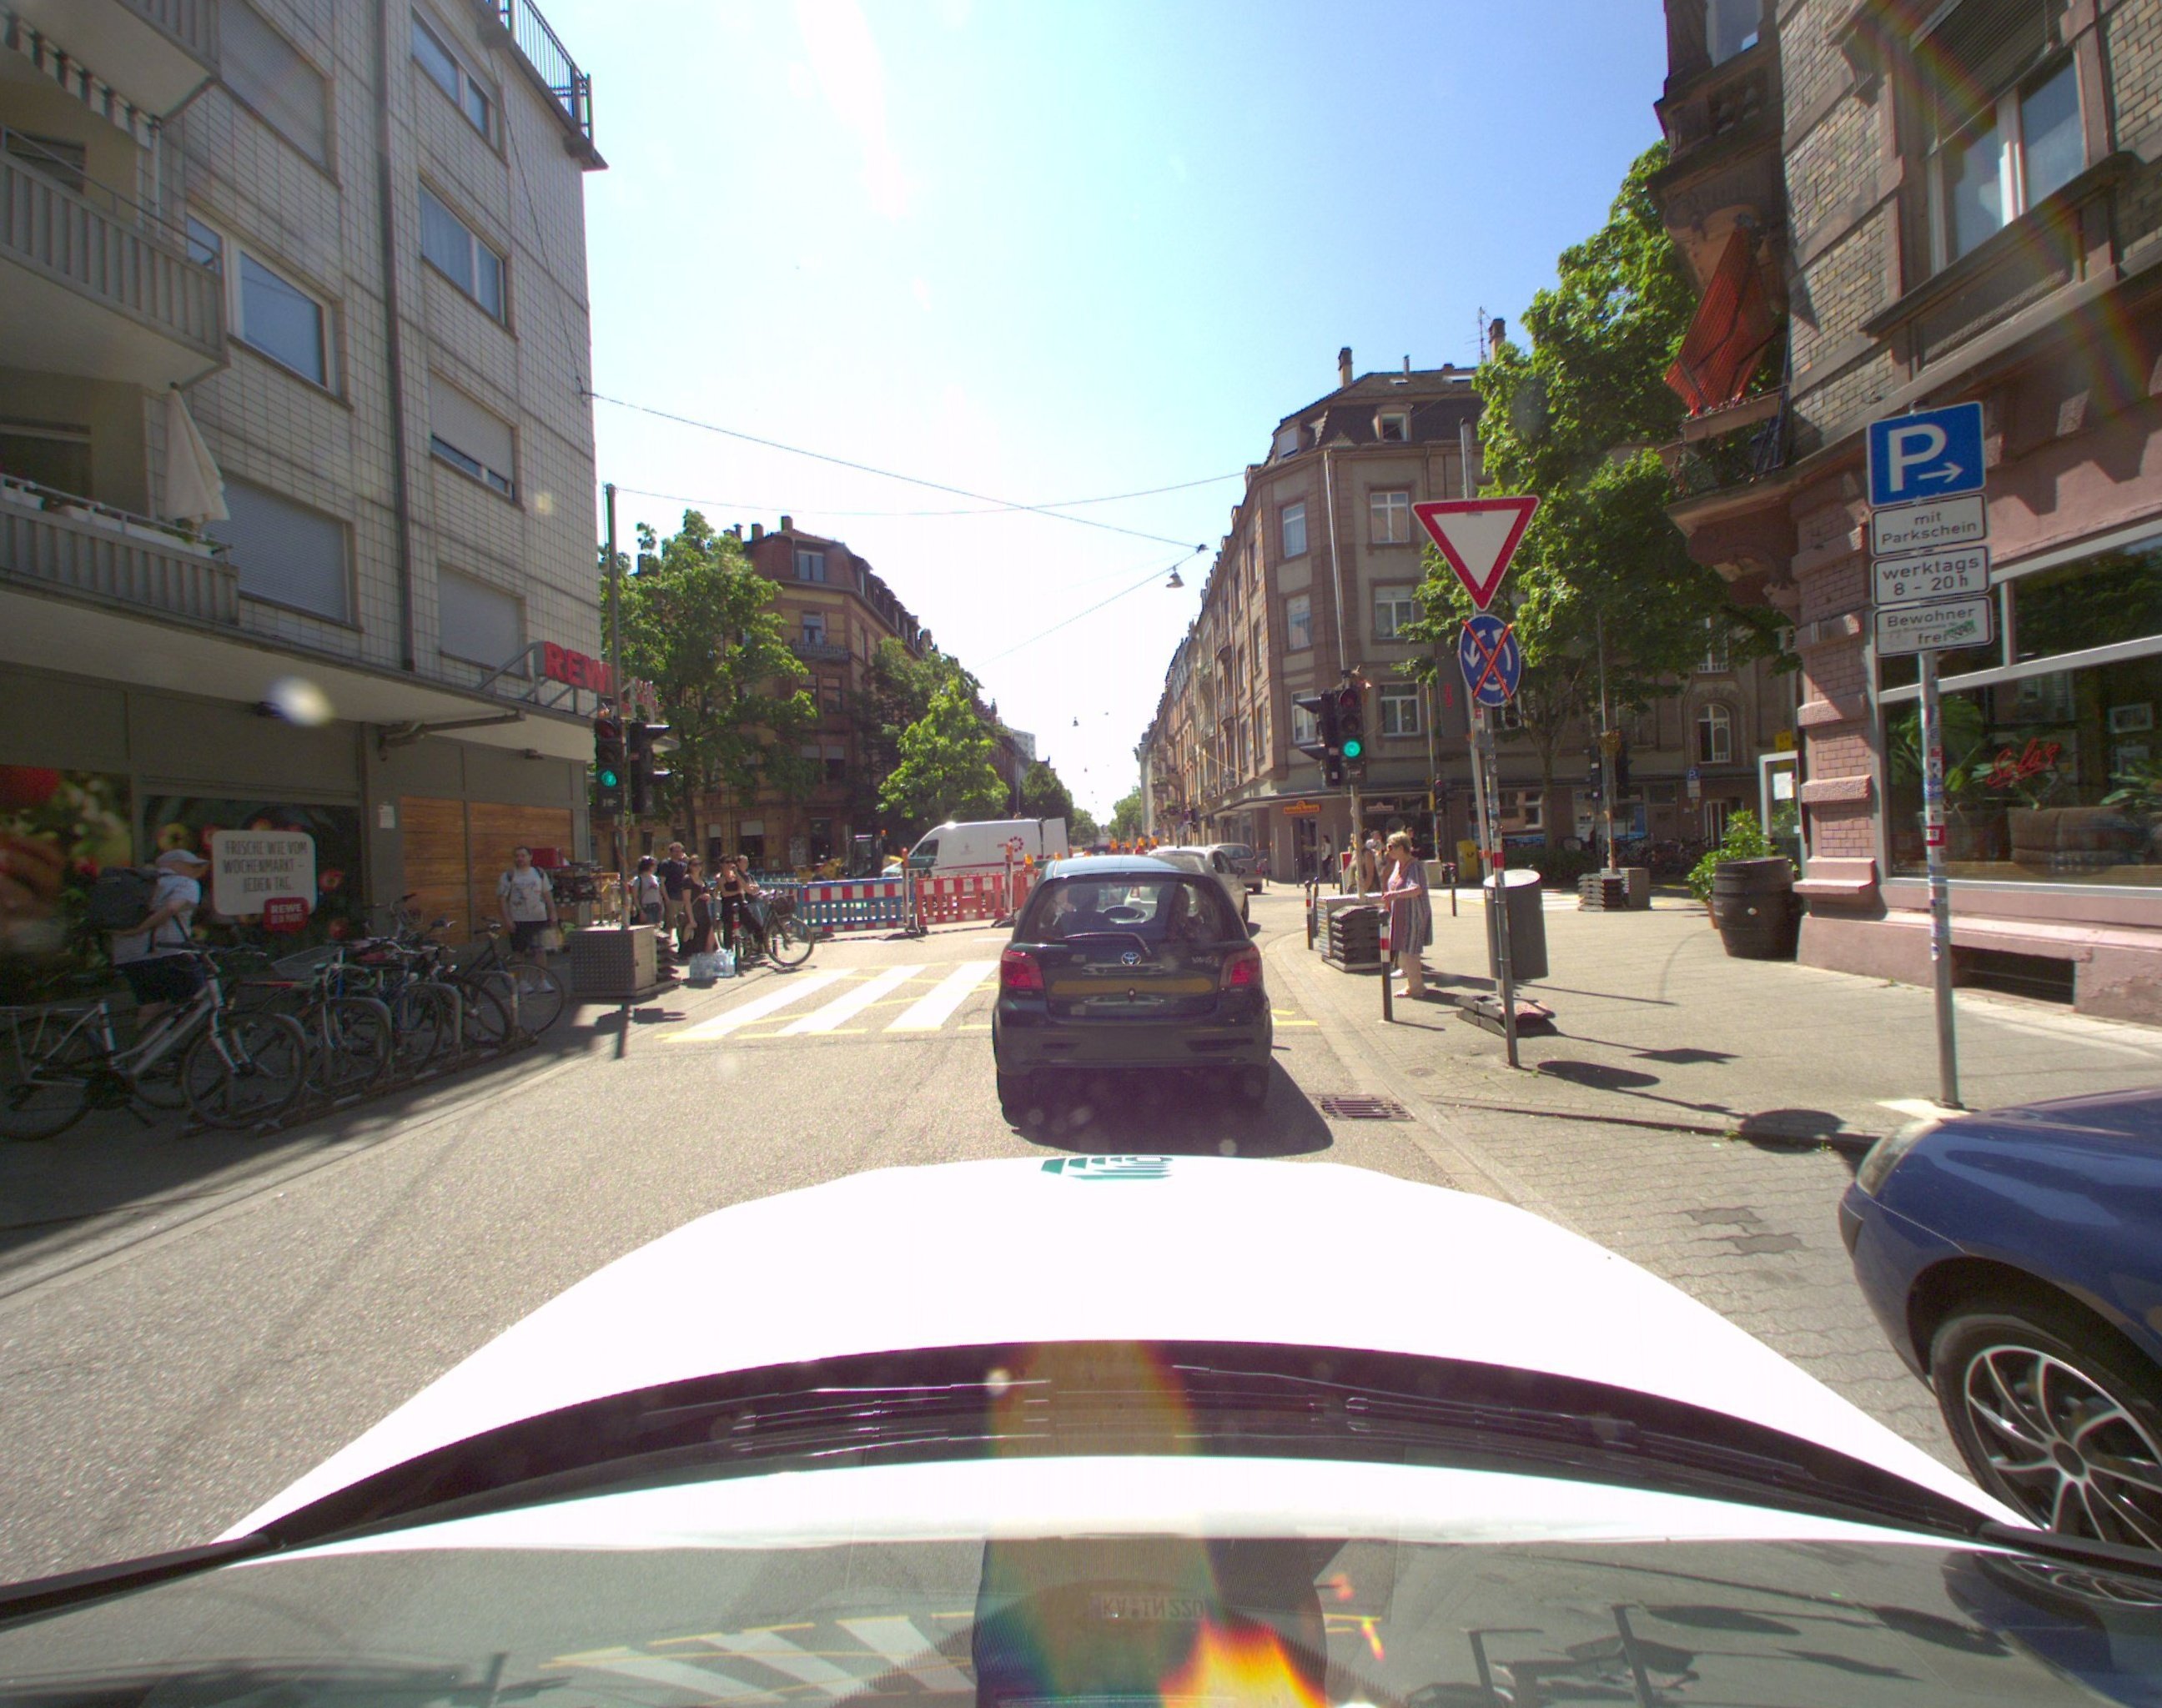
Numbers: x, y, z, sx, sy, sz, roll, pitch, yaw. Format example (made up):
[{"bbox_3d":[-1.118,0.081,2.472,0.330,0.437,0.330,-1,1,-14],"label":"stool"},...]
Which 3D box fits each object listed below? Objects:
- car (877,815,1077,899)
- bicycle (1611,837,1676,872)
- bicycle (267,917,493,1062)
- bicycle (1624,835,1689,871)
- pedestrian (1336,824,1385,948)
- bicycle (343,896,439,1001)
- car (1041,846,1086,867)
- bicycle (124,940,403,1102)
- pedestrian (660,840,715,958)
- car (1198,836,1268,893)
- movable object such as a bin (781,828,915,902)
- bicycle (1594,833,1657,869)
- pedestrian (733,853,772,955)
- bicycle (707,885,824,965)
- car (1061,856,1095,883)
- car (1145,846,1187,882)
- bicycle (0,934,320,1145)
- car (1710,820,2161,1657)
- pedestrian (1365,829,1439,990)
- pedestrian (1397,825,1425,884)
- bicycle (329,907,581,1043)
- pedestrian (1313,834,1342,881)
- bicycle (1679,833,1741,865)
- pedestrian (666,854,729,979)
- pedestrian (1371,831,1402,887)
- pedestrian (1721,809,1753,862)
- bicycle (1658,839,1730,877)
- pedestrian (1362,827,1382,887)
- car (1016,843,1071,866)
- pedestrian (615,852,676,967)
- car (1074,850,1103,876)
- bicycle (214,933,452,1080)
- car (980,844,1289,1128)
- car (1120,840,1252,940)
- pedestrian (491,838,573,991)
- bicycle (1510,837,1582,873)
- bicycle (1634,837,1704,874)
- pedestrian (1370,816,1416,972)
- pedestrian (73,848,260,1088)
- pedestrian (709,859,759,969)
[{"bbox_3d":[-3.543,0.098,28.666,6.594,2.751,2.381,-1,0,2],"label":"car"},{"bbox_3d":[17.678,0.002,25.615,1.756,0.996,0.470,-3,2,-3],"label":"bicycle"},{"bbox_3d":[-5.744,1.096,6.703,1.515,1.117,0.335,0,0,-3],"label":"bicycle"},{"bbox_3d":[17.500,-0.025,24.784,1.679,1.005,0.470,-3,2,-3],"label":"bicycle"},{"bbox_3d":[3.623,0.406,10.581,0.457,1.560,0.480,-2,0,7],"label":"pedestrian"},{"bbox_3d":[-8.353,1.100,9.914,0.321,1.086,1.424,-2,1,-17],"label":"bicycle"},{"bbox_3d":[-1.942,0.248,90.526,4.581,2.187,1.983,-2,0,-26],"label":"car"},{"bbox_3d":[-5.688,1.148,5.704,1.490,1.030,0.397,0,0,-3],"label":"bicycle"},{"bbox_3d":[-6.285,0.702,13.025,0.507,1.820,0.599,-2,0,-1],"label":"pedestrian"},{"bbox_3d":[4.619,0.292,25.137,1.517,1.592,3.264,-3,0,1],"label":"car"},{"bbox_3d":[-8.859,0.411,31.261,4.529,2.659,1.954,-1,0,0],"label":"movable object such as a bin"},{"bbox_3d":[17.459,-0.105,26.124,1.756,1.080,0.470,-3,2,-3],"label":"bicycle"},{"bbox_3d":[-5.323,0.798,13.209,0.388,1.618,0.475,-2,0,-1],"label":"pedestrian"},{"bbox_3d":[-4.736,1.036,12.202,1.789,1.119,0.470,-1,0,23],"label":"bicycle"},{"bbox_3d":[-0.150,0.875,48.427,1.748,1.444,4.002,-3,0,2],"label":"car"},{"bbox_3d":[3.836,0.409,36.134,1.618,1.432,3.669,-4,0,8],"label":"car"},{"bbox_3d":[-5.693,1.091,4.952,1.580,1.139,0.526,0,0,-3],"label":"bicycle"},{"bbox_3d":[2.666,0.649,0.536,1.622,1.432,3.660,-4,0,0],"label":"car"},{"bbox_3d":[3.199,0.540,8.149,0.490,1.543,0.437,-5,0,7],"label":"pedestrian"},{"bbox_3d":[10.216,0.008,25.203,0.574,1.768,0.470,-5,3,-7],"label":"pedestrian"},{"bbox_3d":[-5.673,1.079,7.450,1.794,1.123,0.577,0,0,-5],"label":"bicycle"},{"bbox_3d":[8.636,0.113,28.538,0.794,1.623,0.647,-2,0,28],"label":"pedestrian"},{"bbox_3d":[21.132,-0.169,27.353,1.756,0.996,0.470,-3,2,-3],"label":"bicycle"},{"bbox_3d":[-5.174,0.822,11.016,0.539,1.633,0.511,-2,0,-1],"label":"pedestrian"},{"bbox_3d":[9.385,0.156,25.028,0.701,1.645,0.422,-5,3,-7],"label":"pedestrian"},{"bbox_3d":[20.408,-0.564,25.342,0.488,1.614,0.560,-3,0,7],"label":"pedestrian"},{"bbox_3d":[17.695,0.123,23.522,1.756,0.996,0.470,-3,2,-3],"label":"bicycle"},{"bbox_3d":[8.695,0.086,24.336,0.473,1.732,0.876,-3,-1,21],"label":"pedestrian"},{"bbox_3d":[-3.596,0.015,78.157,4.800,1.994,2.035,-2,0,-27],"label":"car"},{"bbox_3d":[-6.381,0.792,11.950,0.507,1.633,0.599,-2,0,-1],"label":"pedestrian"},{"bbox_3d":[0.575,0.622,58.212,1.748,1.645,4.380,-5,0,2],"label":"car"},{"bbox_3d":[-5.665,1.145,6.198,1.444,1.036,0.335,0,0,-3],"label":"bicycle"},{"bbox_3d":[0.424,0.696,5.962,1.606,1.485,3.246,-2,1,5],"label":"car"},{"bbox_3d":[1.949,0.554,14.319,1.509,1.521,3.281,-2,0,21],"label":"car"},{"bbox_3d":[-6.620,0.707,9.841,0.507,1.770,0.599,-2,0,-1],"label":"pedestrian"},{"bbox_3d":[15.505,0.037,27.195,1.964,1.132,0.519,-3,0,19],"label":"bicycle"},{"bbox_3d":[17.499,0.029,24.244,1.756,0.996,0.470,-3,2,-3],"label":"bicycle"},{"bbox_3d":[3.425,0.430,8.957,0.330,1.675,0.402,-2,0,8],"label":"pedestrian"},{"bbox_3d":[-7.016,0.834,6.280,0.628,1.726,0.658,-2,0,2],"label":"pedestrian"},{"bbox_3d":[-5.114,0.858,12.008,0.491,1.565,0.462,0,1,28],"label":"pedestrian"}]
